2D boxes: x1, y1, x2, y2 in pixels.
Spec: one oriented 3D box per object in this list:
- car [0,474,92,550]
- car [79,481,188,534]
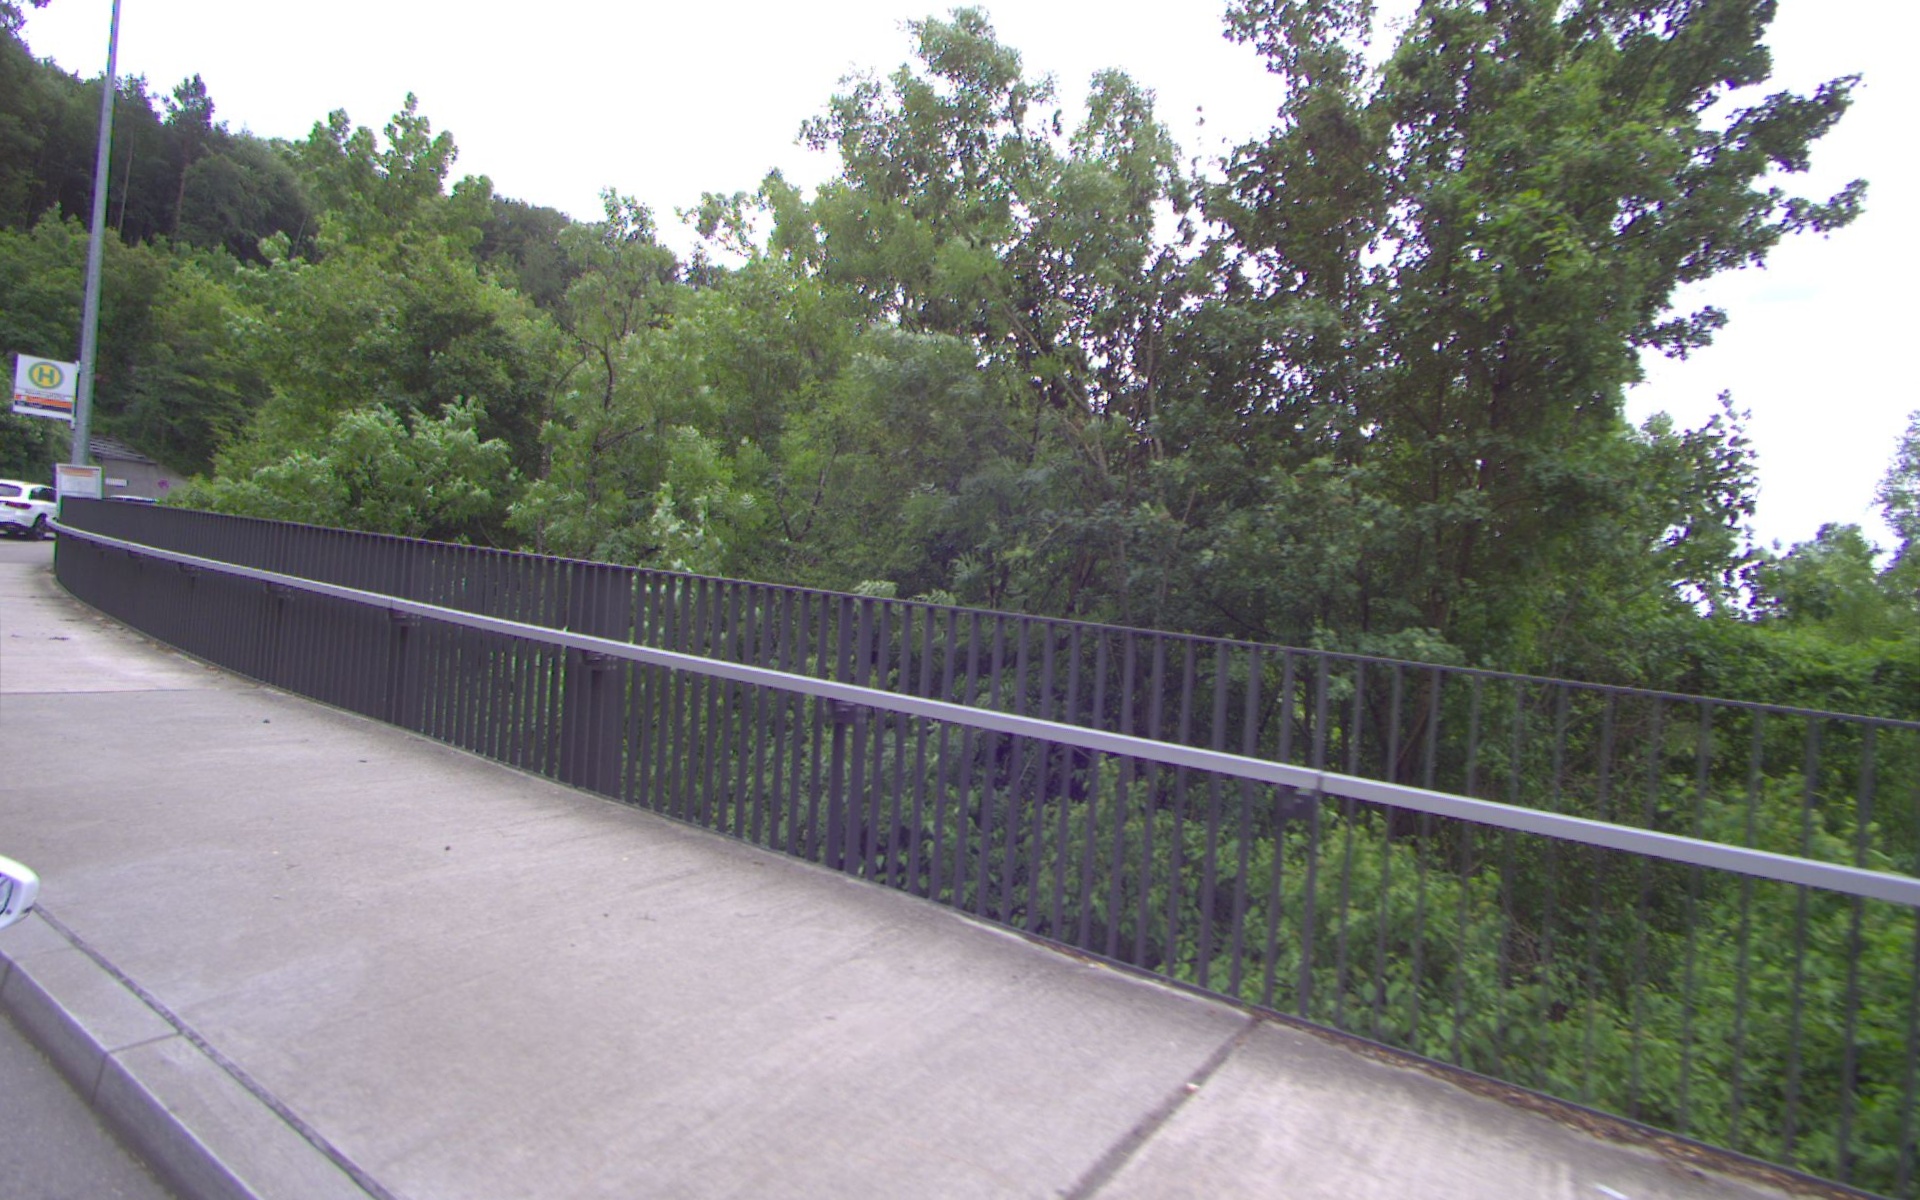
[{"bbox_3d":[-27.791,-2.623,29.726,1.976,1.864,4.127,9,-3,-25],"label":"car"},{"bbox_3d":[-35.218,-3.901,43.016,1.720,1.536,4.301,8,-3,-13],"label":"car"}]
